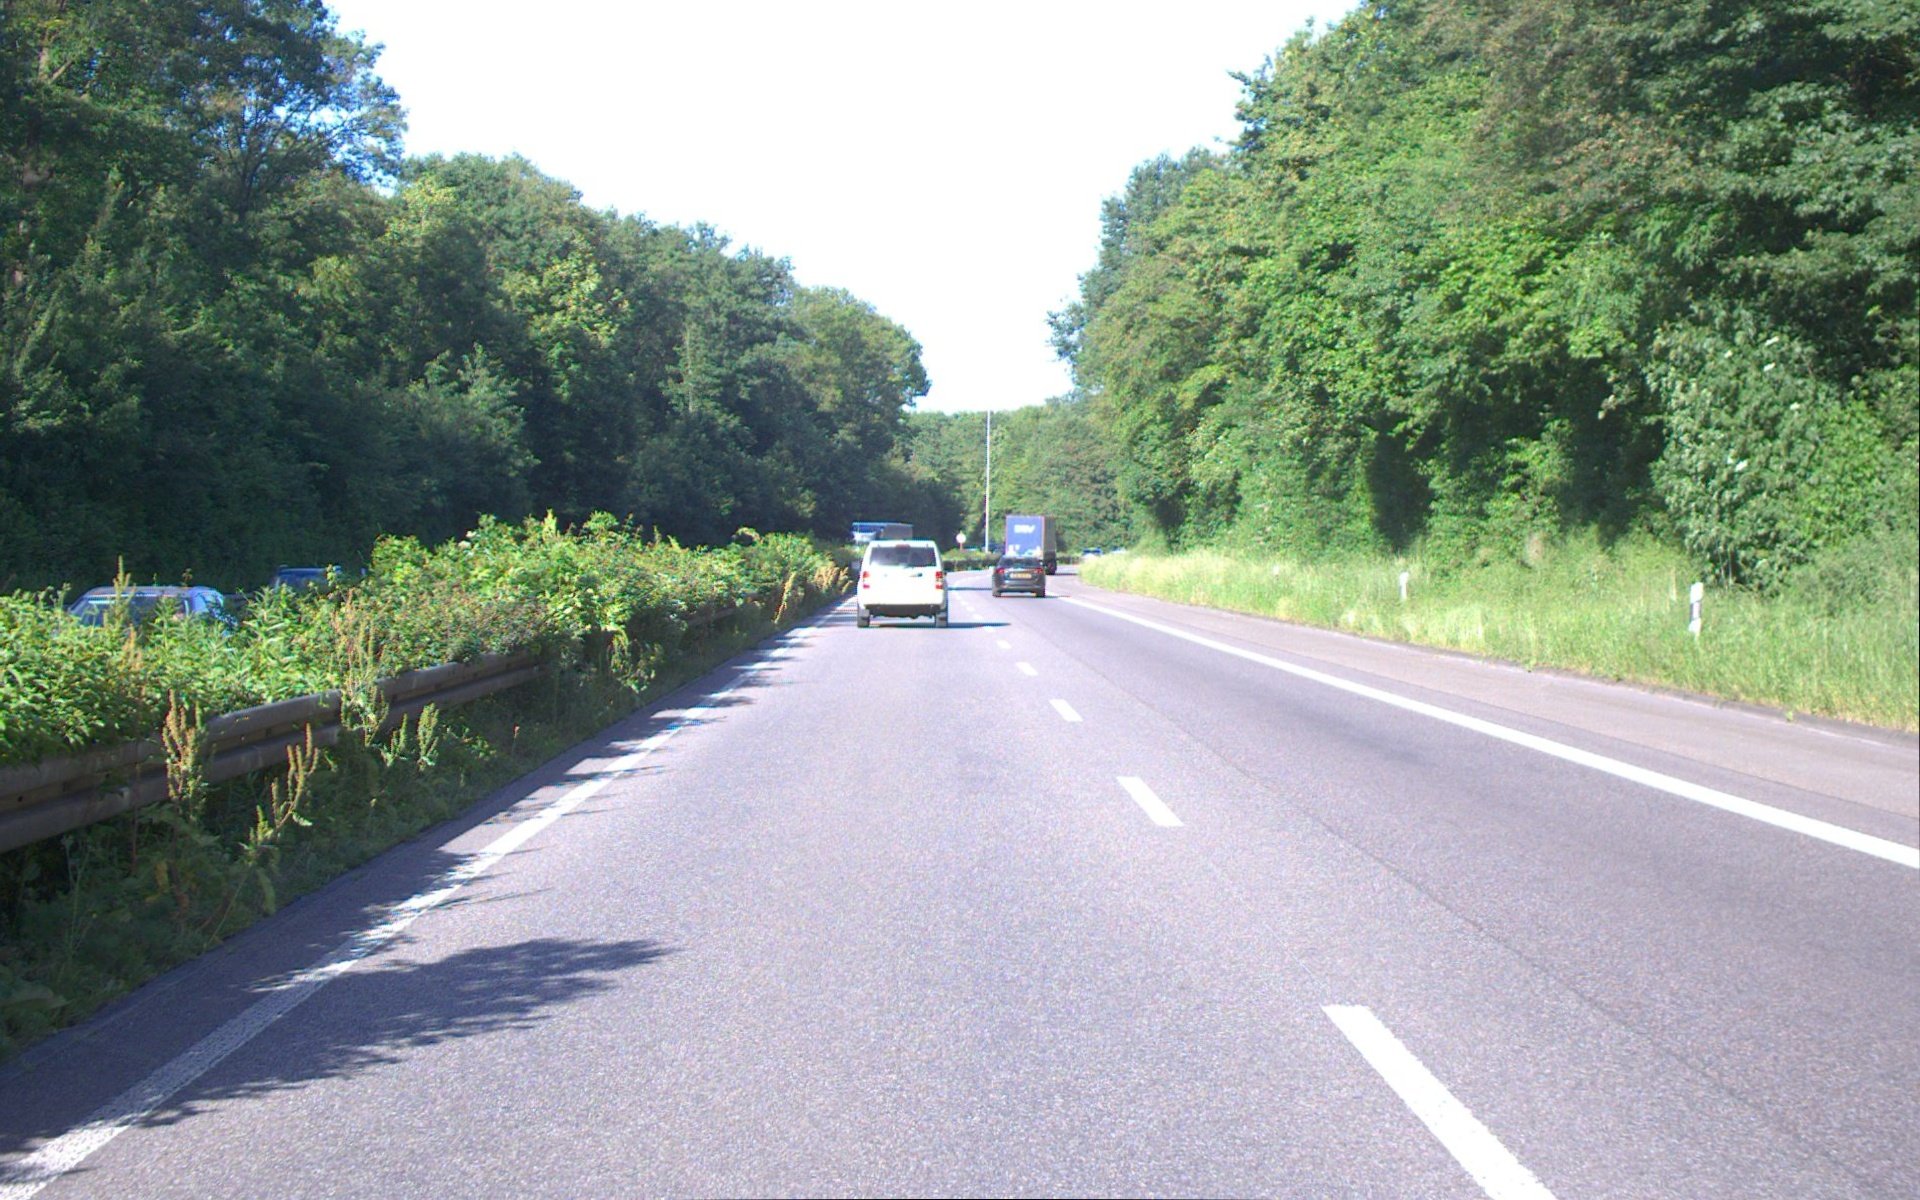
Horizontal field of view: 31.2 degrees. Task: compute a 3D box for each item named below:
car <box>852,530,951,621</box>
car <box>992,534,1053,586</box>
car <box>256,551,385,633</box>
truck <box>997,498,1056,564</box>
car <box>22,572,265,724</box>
[{"bbox_3d":[-1.196,-0.514,70.670,1.951,1.776,4.588,1,1,-1],"label":"car"},{"bbox_3d":[2.173,-1.391,120.455,1.951,1.776,4.588,1,1,-1],"label":"car"},{"bbox_3d":[-12.683,-0.184,68.345,1.847,1.569,4.000,1,1,-1],"label":"car"},{"bbox_3d":[4.525,-4.658,232.965,3.734,4.328,9.304,1,1,3],"label":"truck"},{"bbox_3d":[-9.209,0.492,39.121,1.713,1.599,4.586,1,1,-1],"label":"car"}]
